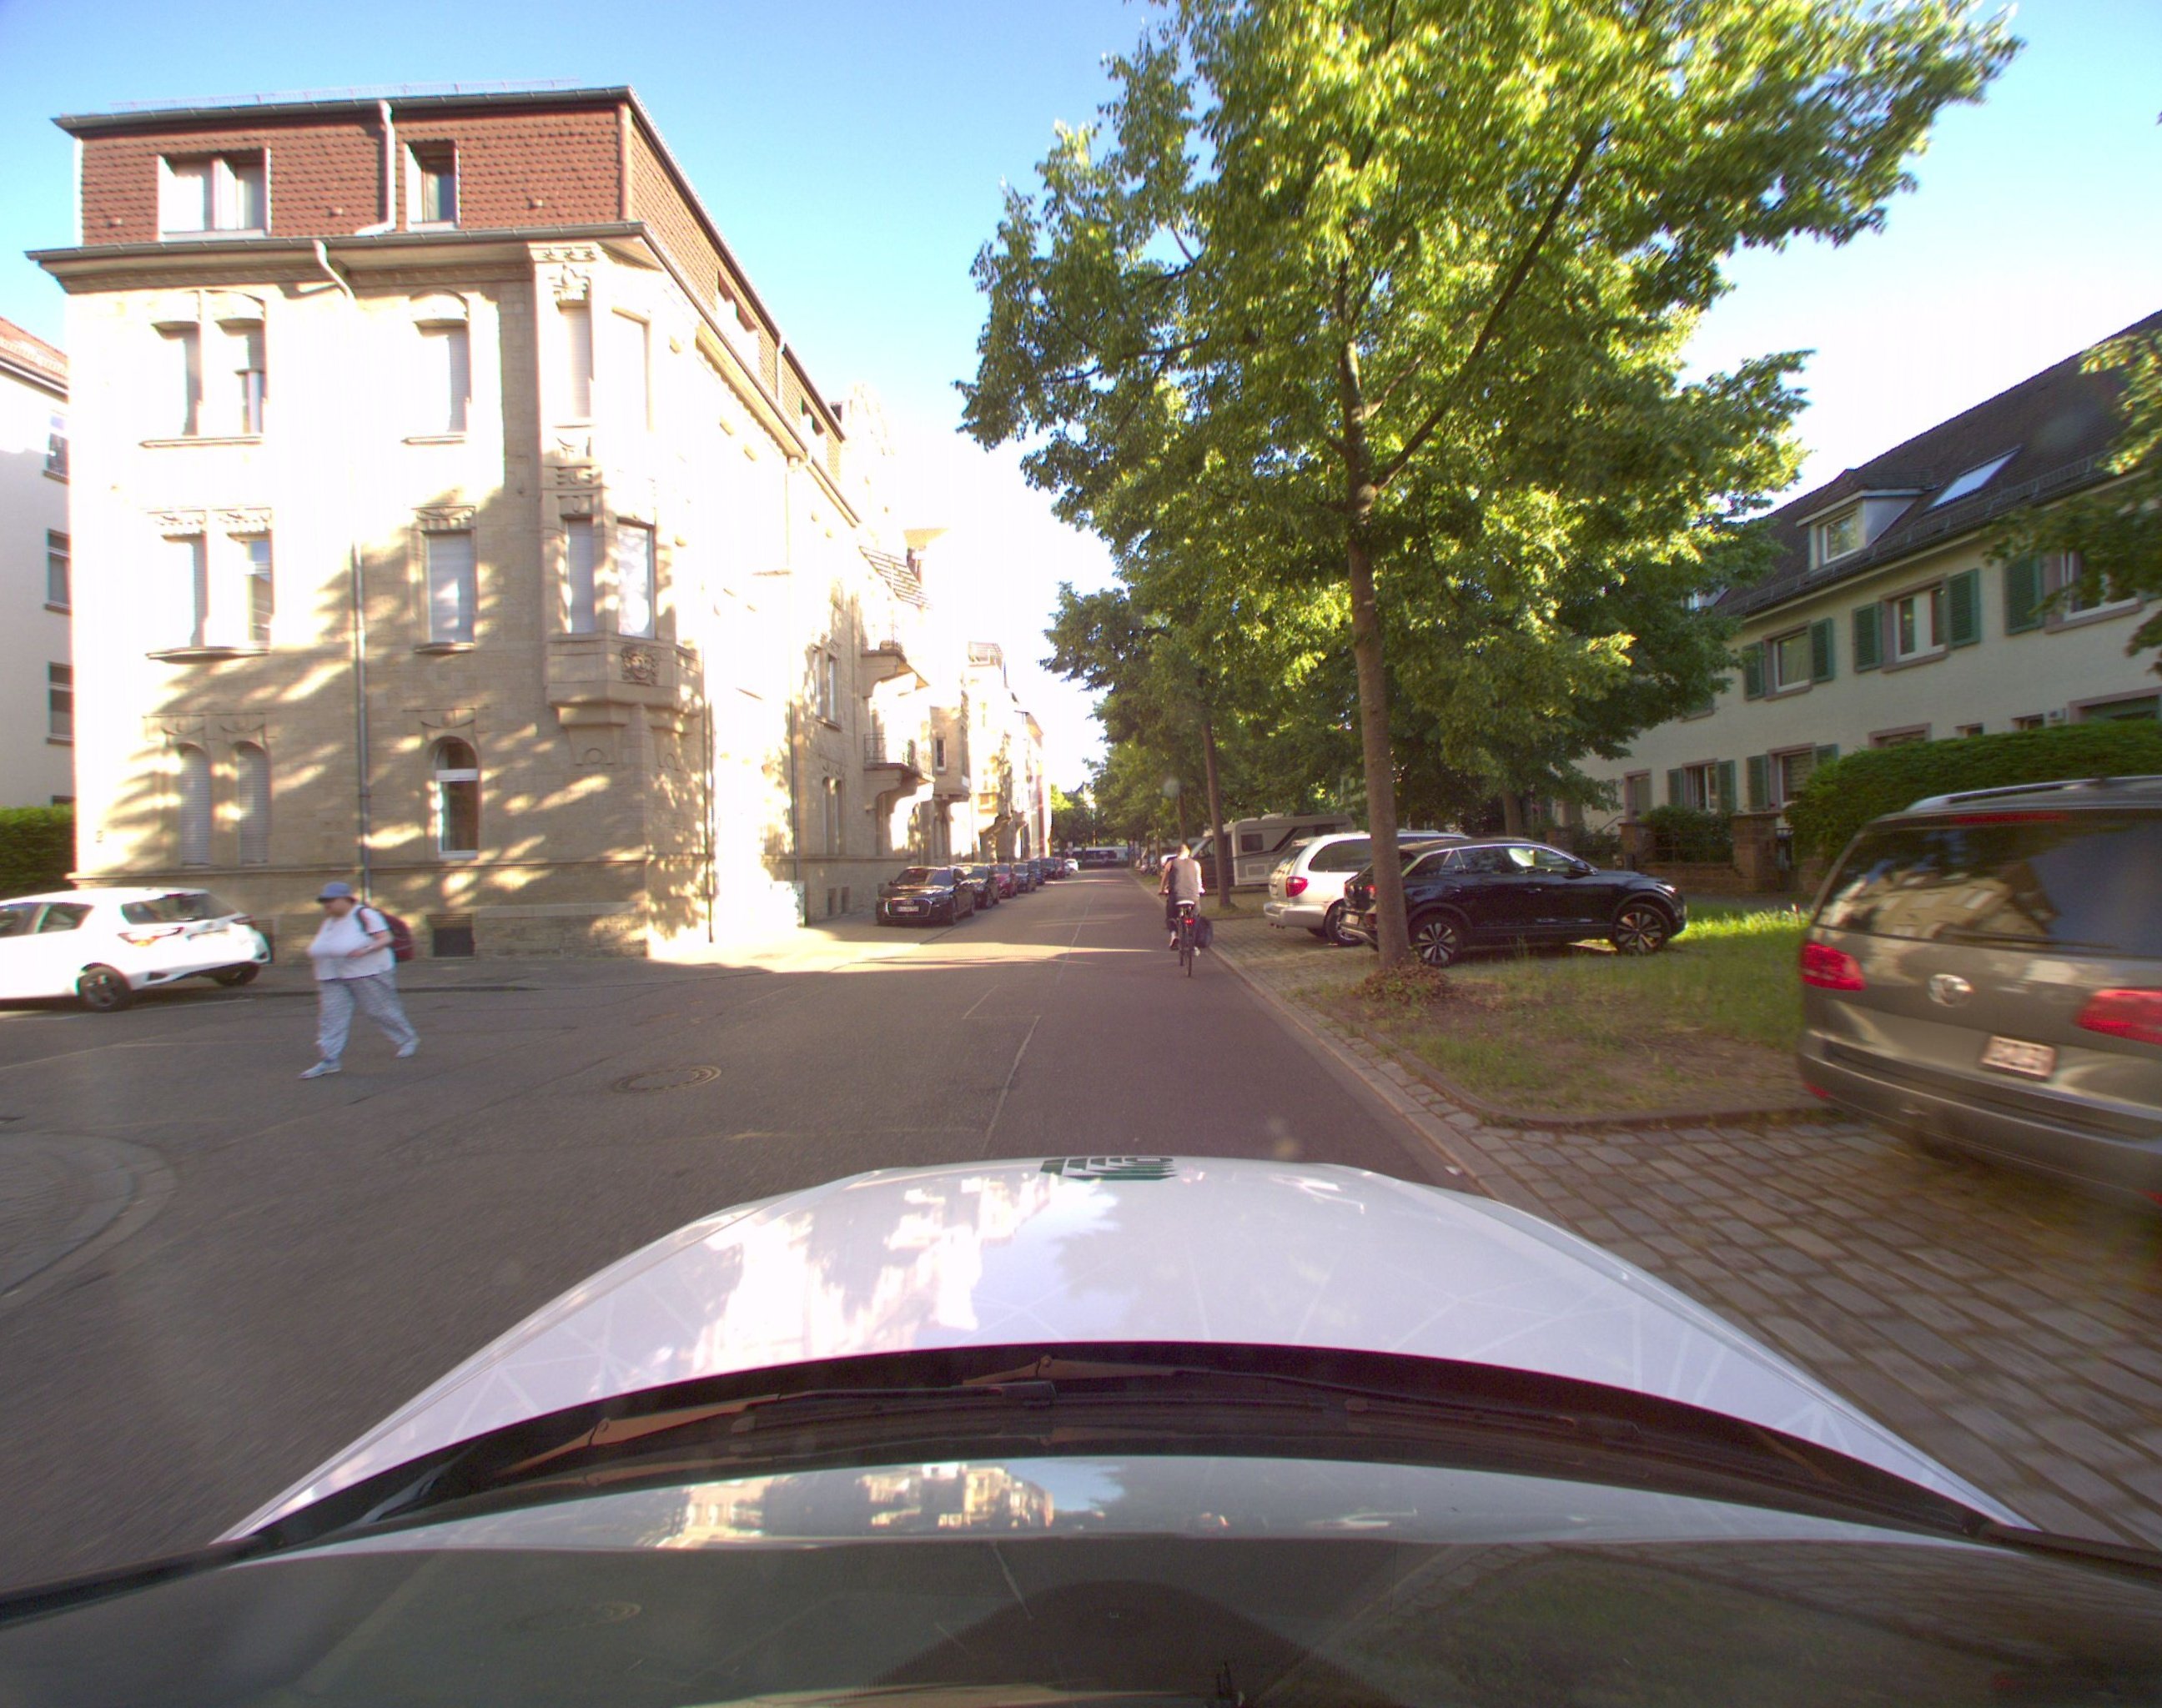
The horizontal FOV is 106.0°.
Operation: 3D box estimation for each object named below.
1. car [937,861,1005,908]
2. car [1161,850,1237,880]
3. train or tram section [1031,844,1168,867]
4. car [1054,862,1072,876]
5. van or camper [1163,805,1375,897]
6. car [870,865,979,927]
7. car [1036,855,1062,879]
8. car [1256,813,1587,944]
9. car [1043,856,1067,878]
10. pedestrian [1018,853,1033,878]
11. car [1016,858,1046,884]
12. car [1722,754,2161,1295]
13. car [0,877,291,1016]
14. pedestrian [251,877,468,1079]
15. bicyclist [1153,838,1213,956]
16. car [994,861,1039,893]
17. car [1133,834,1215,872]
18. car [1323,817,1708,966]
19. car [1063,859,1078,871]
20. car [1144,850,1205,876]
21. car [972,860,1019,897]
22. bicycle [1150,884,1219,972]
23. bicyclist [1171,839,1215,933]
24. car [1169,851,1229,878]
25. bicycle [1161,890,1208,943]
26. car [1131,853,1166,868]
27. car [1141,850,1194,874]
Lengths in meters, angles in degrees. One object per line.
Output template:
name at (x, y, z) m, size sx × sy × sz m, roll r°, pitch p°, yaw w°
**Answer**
car at (-3.663, 0.991, 27.756) m, size 1.690 × 1.453 × 4.027 m, roll -2°, pitch -1°, yaw 0°
car at (6.843, 0.657, 47.597) m, size 4.205 × 1.600 × 1.692 m, roll -2°, pitch -2°, yaw 3°
train or tram section at (3.377, 0.261, 140.854) m, size 23.889 × 3.708 × 4.256 m, roll 0°, pitch -1°, yaw -21°
car at (-1.756, 1.472, 80.988) m, size 1.577 × 1.343 × 4.134 m, roll 0°, pitch 0°, yaw 3°
van or camper at (6.738, -0.108, 29.968) m, size 7.116 × 2.647 × 2.467 m, roll -5°, pitch 0°, yaw 3°
car at (-4.000, 1.017, 21.645) m, size 1.804 × 1.427 × 4.899 m, roll 1°, pitch -1°, yaw 2°
car at (-2.433, 0.955, 62.948) m, size 1.634 × 1.783 × 4.357 m, roll 0°, pitch 0°, yaw 3°
car at (5.375, 0.383, 13.356) m, size 4.600 × 1.709 × 1.835 m, roll -4°, pitch 0°, yaw 3°
car at (-2.226, 1.092, 69.954) m, size 1.682 × 1.825 × 4.275 m, roll 0°, pitch 0°, yaw 3°
pedestrian at (-3.890, 0.826, 57.119) m, size 0.934 × 1.742 × 0.735 m, roll 0°, pitch -1°, yaw 2°
car at (-3.063, 1.016, 49.895) m, size 1.590 × 1.489 × 2.737 m, roll 2°, pitch 0°, yaw 0°
car at (5.434, 0.337, 3.160) m, size 4.530 × 1.633 × 1.809 m, roll -5°, pitch 0°, yaw -4°
car at (-13.504, 1.213, 11.026) m, size 3.784 × 1.550 × 1.719 m, roll -2°, pitch 2°, yaw -1°
pedestrian at (-6.329, 1.035, 7.226) m, size 0.884 × 1.577 × 1.054 m, roll -3°, pitch 0°, yaw 2°
bicyclist at (1.375, 0.575, 11.127) m, size 0.727 × 1.548 × 0.884 m, roll 0°, pitch -1°, yaw 1°
car at (-3.183, 1.087, 40.687) m, size 1.669 × 1.430 × 4.553 m, roll 0°, pitch 0°, yaw 3°
car at (8.467, -0.079, 74.916) m, size 7.126 × 2.978 × 2.463 m, roll -3°, pitch -1°, yaw -1°
car at (5.477, 0.449, 10.672) m, size 4.051 × 1.476 × 1.695 m, roll -5°, pitch 0°, yaw 2°
car at (-1.217, 1.293, 98.126) m, size 1.577 × 1.375 × 4.134 m, roll 0°, pitch 0°, yaw 3°
car at (6.455, 0.658, 56.577) m, size 4.121 × 1.600 × 1.704 m, roll -2°, pitch -2°, yaw 3°
car at (-3.614, 1.014, 34.905) m, size 1.624 × 1.453 × 3.837 m, roll -1°, pitch 0°, yaw 0°
bicycle at (1.370, 0.949, 11.098) m, size 0.735 × 1.054 × 1.956 m, roll 0°, pitch -1°, yaw 1°
bicyclist at (1.998, 0.553, 14.640) m, size 0.686 × 1.627 × 0.999 m, roll -1°, pitch -1°, yaw 3°
car at (7.789, 0.695, 53.902) m, size 3.757 × 1.600 × 1.692 m, roll -2°, pitch -2°, yaw 3°
bicycle at (1.823, 1.090, 14.577) m, size 0.631 × 0.799 × 1.833 m, roll -2°, pitch 0°, yaw 2°
car at (8.034, 0.773, 97.197) m, size 3.975 × 1.803 × 1.833 m, roll 0°, pitch -1°, yaw -1°
car at (7.146, 0.634, 67.470) m, size 4.070 × 1.650 × 1.640 m, roll -5°, pitch -1°, yaw -1°
